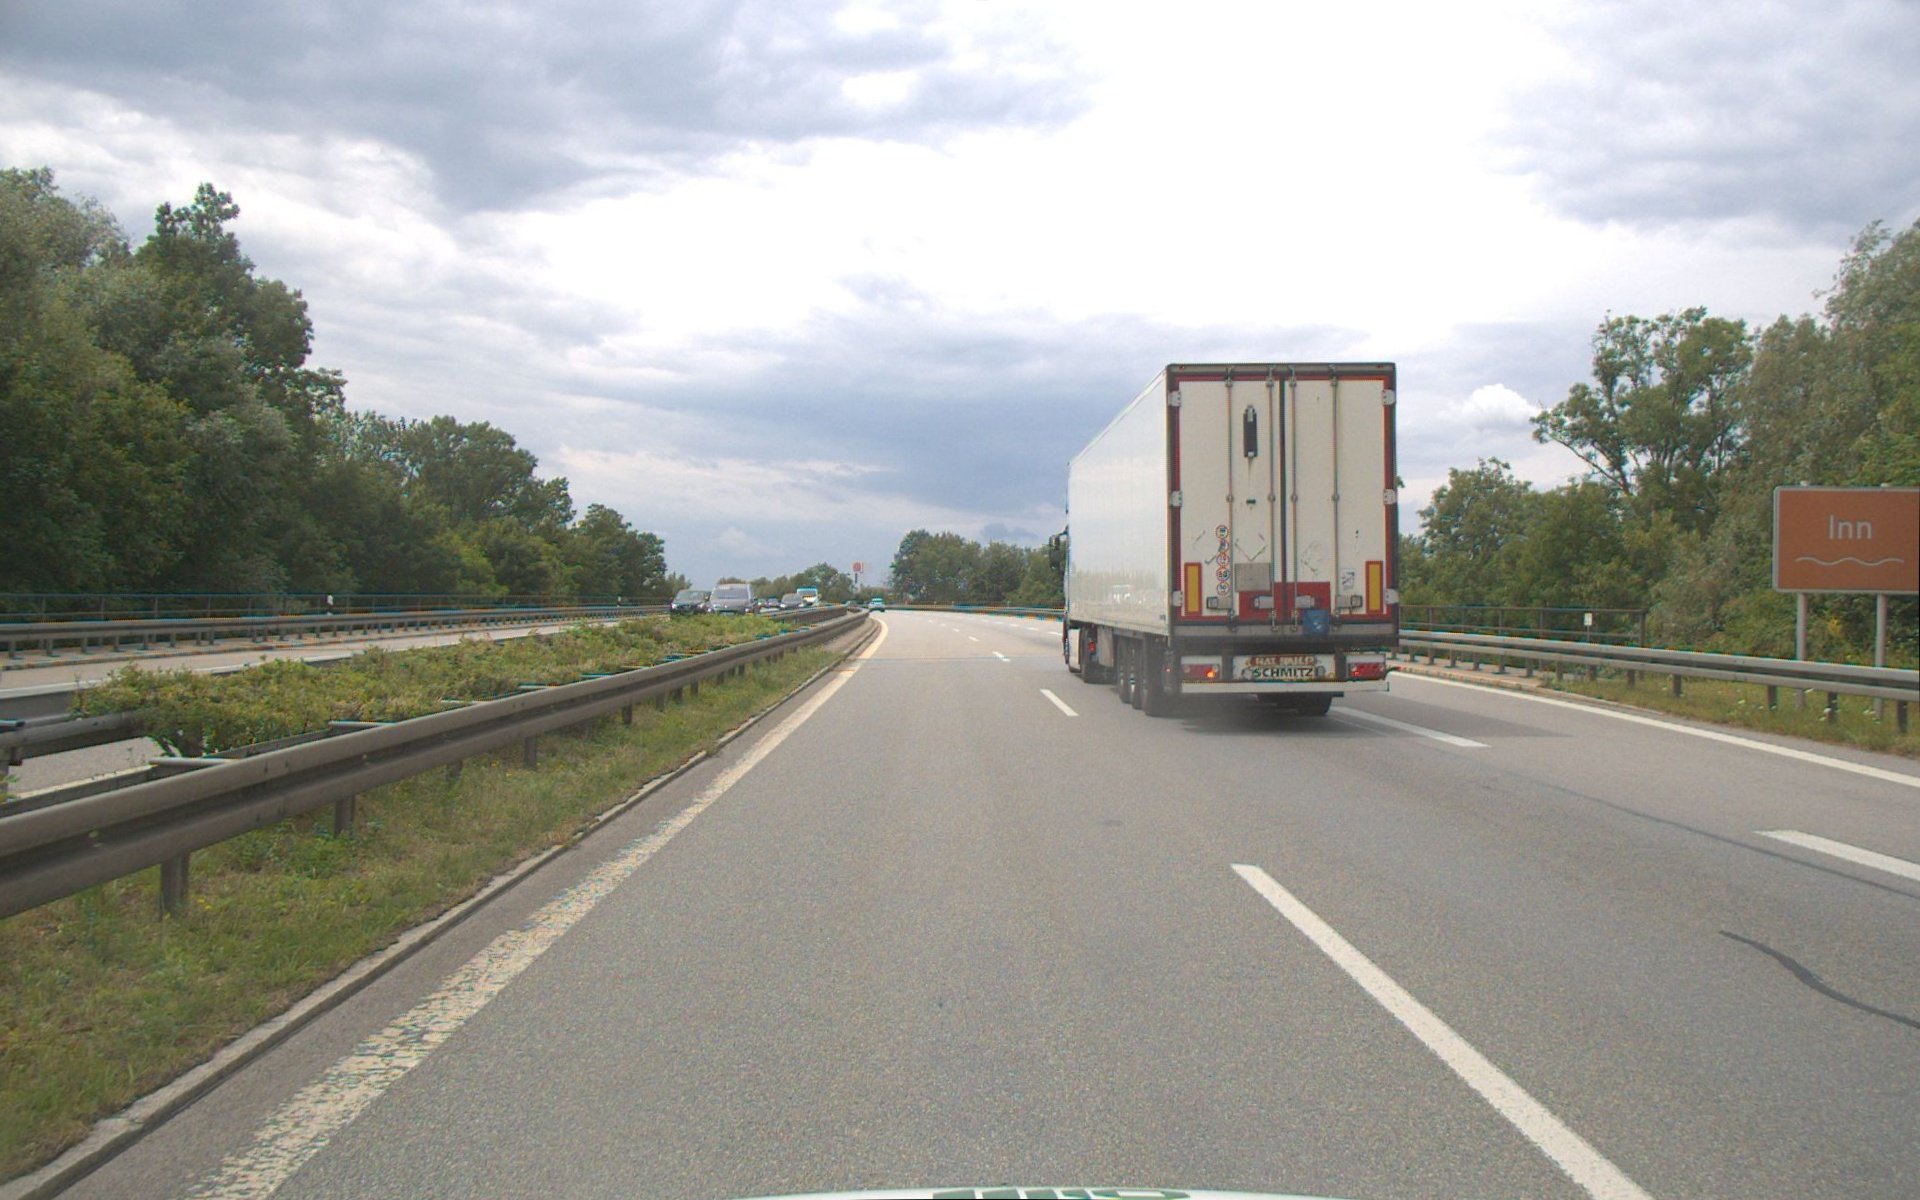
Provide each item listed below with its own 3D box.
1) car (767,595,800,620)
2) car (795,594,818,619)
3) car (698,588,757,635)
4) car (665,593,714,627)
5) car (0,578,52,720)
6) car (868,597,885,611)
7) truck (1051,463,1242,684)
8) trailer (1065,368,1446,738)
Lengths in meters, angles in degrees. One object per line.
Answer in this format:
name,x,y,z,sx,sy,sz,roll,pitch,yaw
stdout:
car,-11.796,0.501,110.841,1.808,1.640,4.944,2,0,-2
car,-12.562,0.513,135.653,1.736,1.944,4.711,2,0,-4
car,-8.836,0.412,63.110,1.690,1.679,4.222,1,0,-1
car,-13.080,0.484,80.125,1.694,1.587,4.330,0,0,-1
car,-11.085,0.534,16.615,1.616,1.518,4.282,-1,0,-1
car,-10.654,0.556,211.108,1.866,1.669,4.389,1,-1,-7
truck,3.505,-0.472,32.629,3.000,3.960,5.999,0,0,-1
trailer,3.613,-0.503,24.653,3.000,3.959,13.787,0,0,-1
